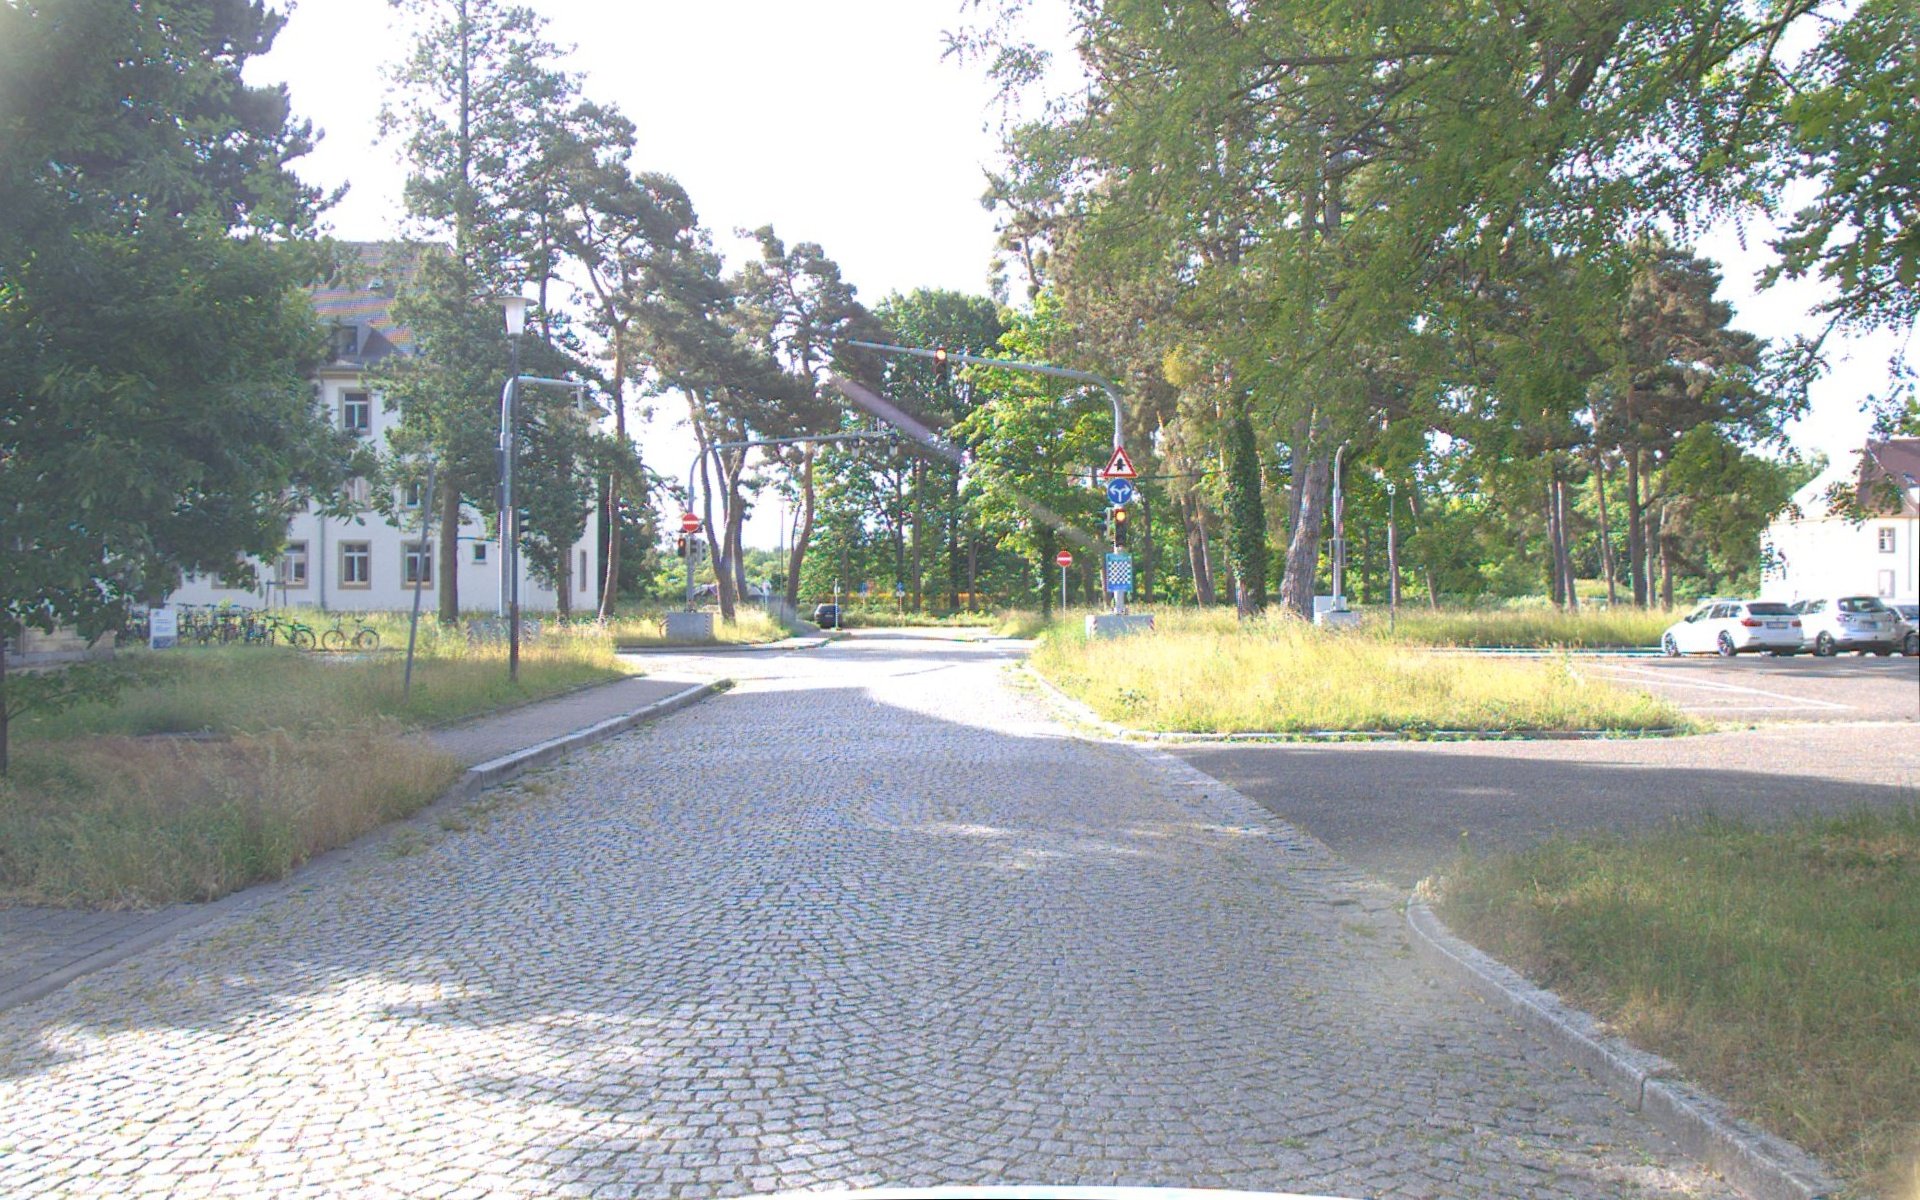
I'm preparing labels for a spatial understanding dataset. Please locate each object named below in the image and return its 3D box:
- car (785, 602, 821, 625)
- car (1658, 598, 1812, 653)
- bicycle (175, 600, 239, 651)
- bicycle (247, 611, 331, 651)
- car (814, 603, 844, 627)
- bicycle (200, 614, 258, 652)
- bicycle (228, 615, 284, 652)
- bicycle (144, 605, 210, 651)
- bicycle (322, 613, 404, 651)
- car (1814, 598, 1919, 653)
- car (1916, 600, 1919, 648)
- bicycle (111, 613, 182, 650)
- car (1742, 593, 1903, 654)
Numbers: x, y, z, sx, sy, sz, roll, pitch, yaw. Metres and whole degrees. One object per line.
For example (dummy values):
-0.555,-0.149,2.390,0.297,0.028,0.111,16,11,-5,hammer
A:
-10.473,0.884,110.481,1.745,1.516,3.757,0,0,5,car
20.015,0.618,42.929,1.697,1.335,4.327,0,0,-5,car
-22.426,0.742,49.329,0.809,1.462,2.553,0,0,-2,bicycle
-19.416,0.880,47.876,2.076,1.128,0.828,0,0,-5,bicycle
-8.370,0.926,105.787,1.808,1.512,3.997,0,0,-4,car
-21.641,0.969,49.012,0.809,1.065,2.123,0,0,-2,bicycle
-20.875,0.986,49.080,0.809,1.065,2.123,0,0,-2,bicycle
-23.177,0.818,49.003,0.809,1.303,2.553,0,0,-2,bicycle
-17.335,0.922,48.038,2.076,1.065,0.828,0,0,-5,bicycle
24.707,0.635,43.776,1.697,1.335,4.327,-2,0,-5,car
27.712,0.663,44.067,1.697,1.335,4.327,-1,0,-5,car
-24.061,0.918,48.974,0.882,1.065,2.553,0,0,-2,bicycle
22.478,0.581,43.316,1.697,1.502,4.327,0,0,-5,car
